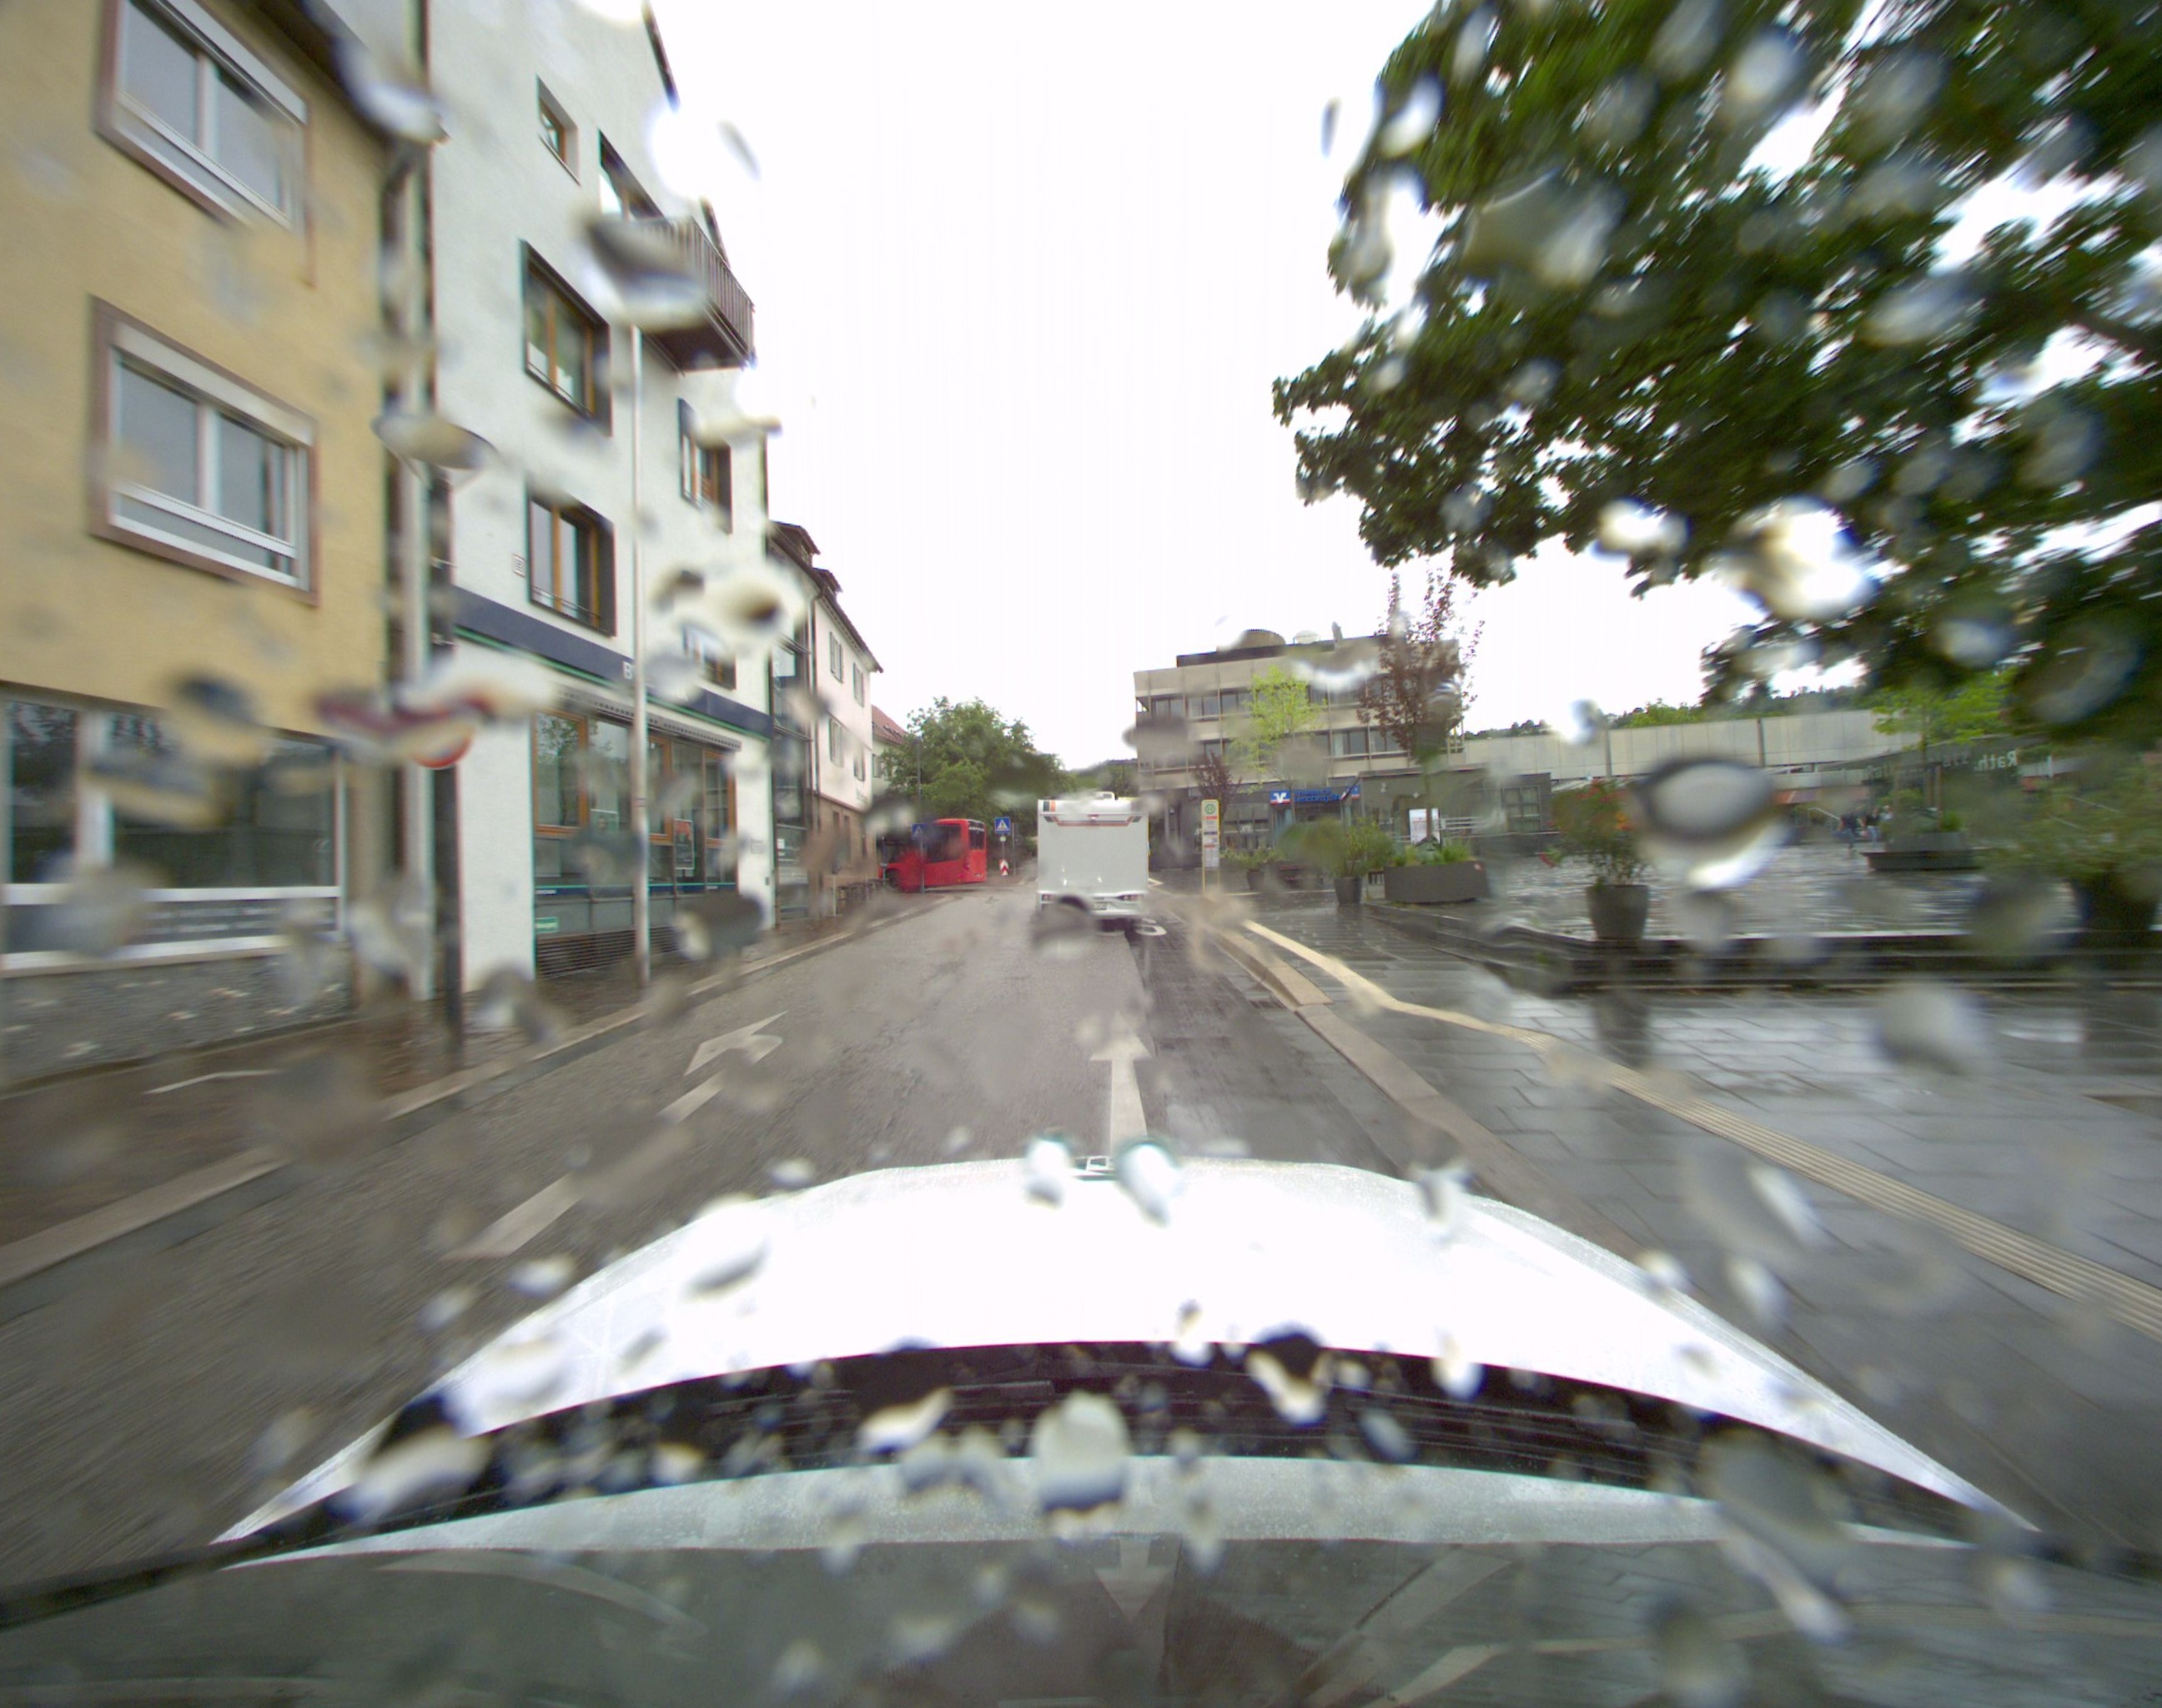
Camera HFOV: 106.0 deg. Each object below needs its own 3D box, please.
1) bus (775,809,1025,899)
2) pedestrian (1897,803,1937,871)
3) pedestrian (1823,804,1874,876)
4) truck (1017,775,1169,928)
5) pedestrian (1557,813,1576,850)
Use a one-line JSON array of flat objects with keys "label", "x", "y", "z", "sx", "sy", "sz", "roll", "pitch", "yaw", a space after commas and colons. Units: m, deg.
[{"label": "bus", "x": -7.794, "y": 0.050, "z": 35.464, "sx": 10.052, "sy": 3.146, "sz": 3.042, "roll": -4, "pitch": -1, "yaw": 10}, {"label": "pedestrian", "x": 30.967, "y": -0.617, "z": 30.169, "sx": 0.728, "sy": 2.439, "sz": 0.571, "roll": -4, "pitch": -1, "yaw": 14}, {"label": "pedestrian", "x": 29.511, "y": -0.539, "z": 31.325, "sx": 1.045, "sy": 2.684, "sz": 0.836, "roll": -4, "pitch": -1, "yaw": 19}, {"label": "truck", "x": 0.171, "y": -0.004, "z": 18.838, "sx": 2.798, "sy": 2.797, "sz": 6.103, "roll": -3, "pitch": -1, "yaw": -1}, {"label": "pedestrian", "x": 29.020, "y": -1.364, "z": 48.660, "sx": 0.752, "sy": 2.147, "sz": 0.662, "roll": -4, "pitch": -1, "yaw": 19}]
